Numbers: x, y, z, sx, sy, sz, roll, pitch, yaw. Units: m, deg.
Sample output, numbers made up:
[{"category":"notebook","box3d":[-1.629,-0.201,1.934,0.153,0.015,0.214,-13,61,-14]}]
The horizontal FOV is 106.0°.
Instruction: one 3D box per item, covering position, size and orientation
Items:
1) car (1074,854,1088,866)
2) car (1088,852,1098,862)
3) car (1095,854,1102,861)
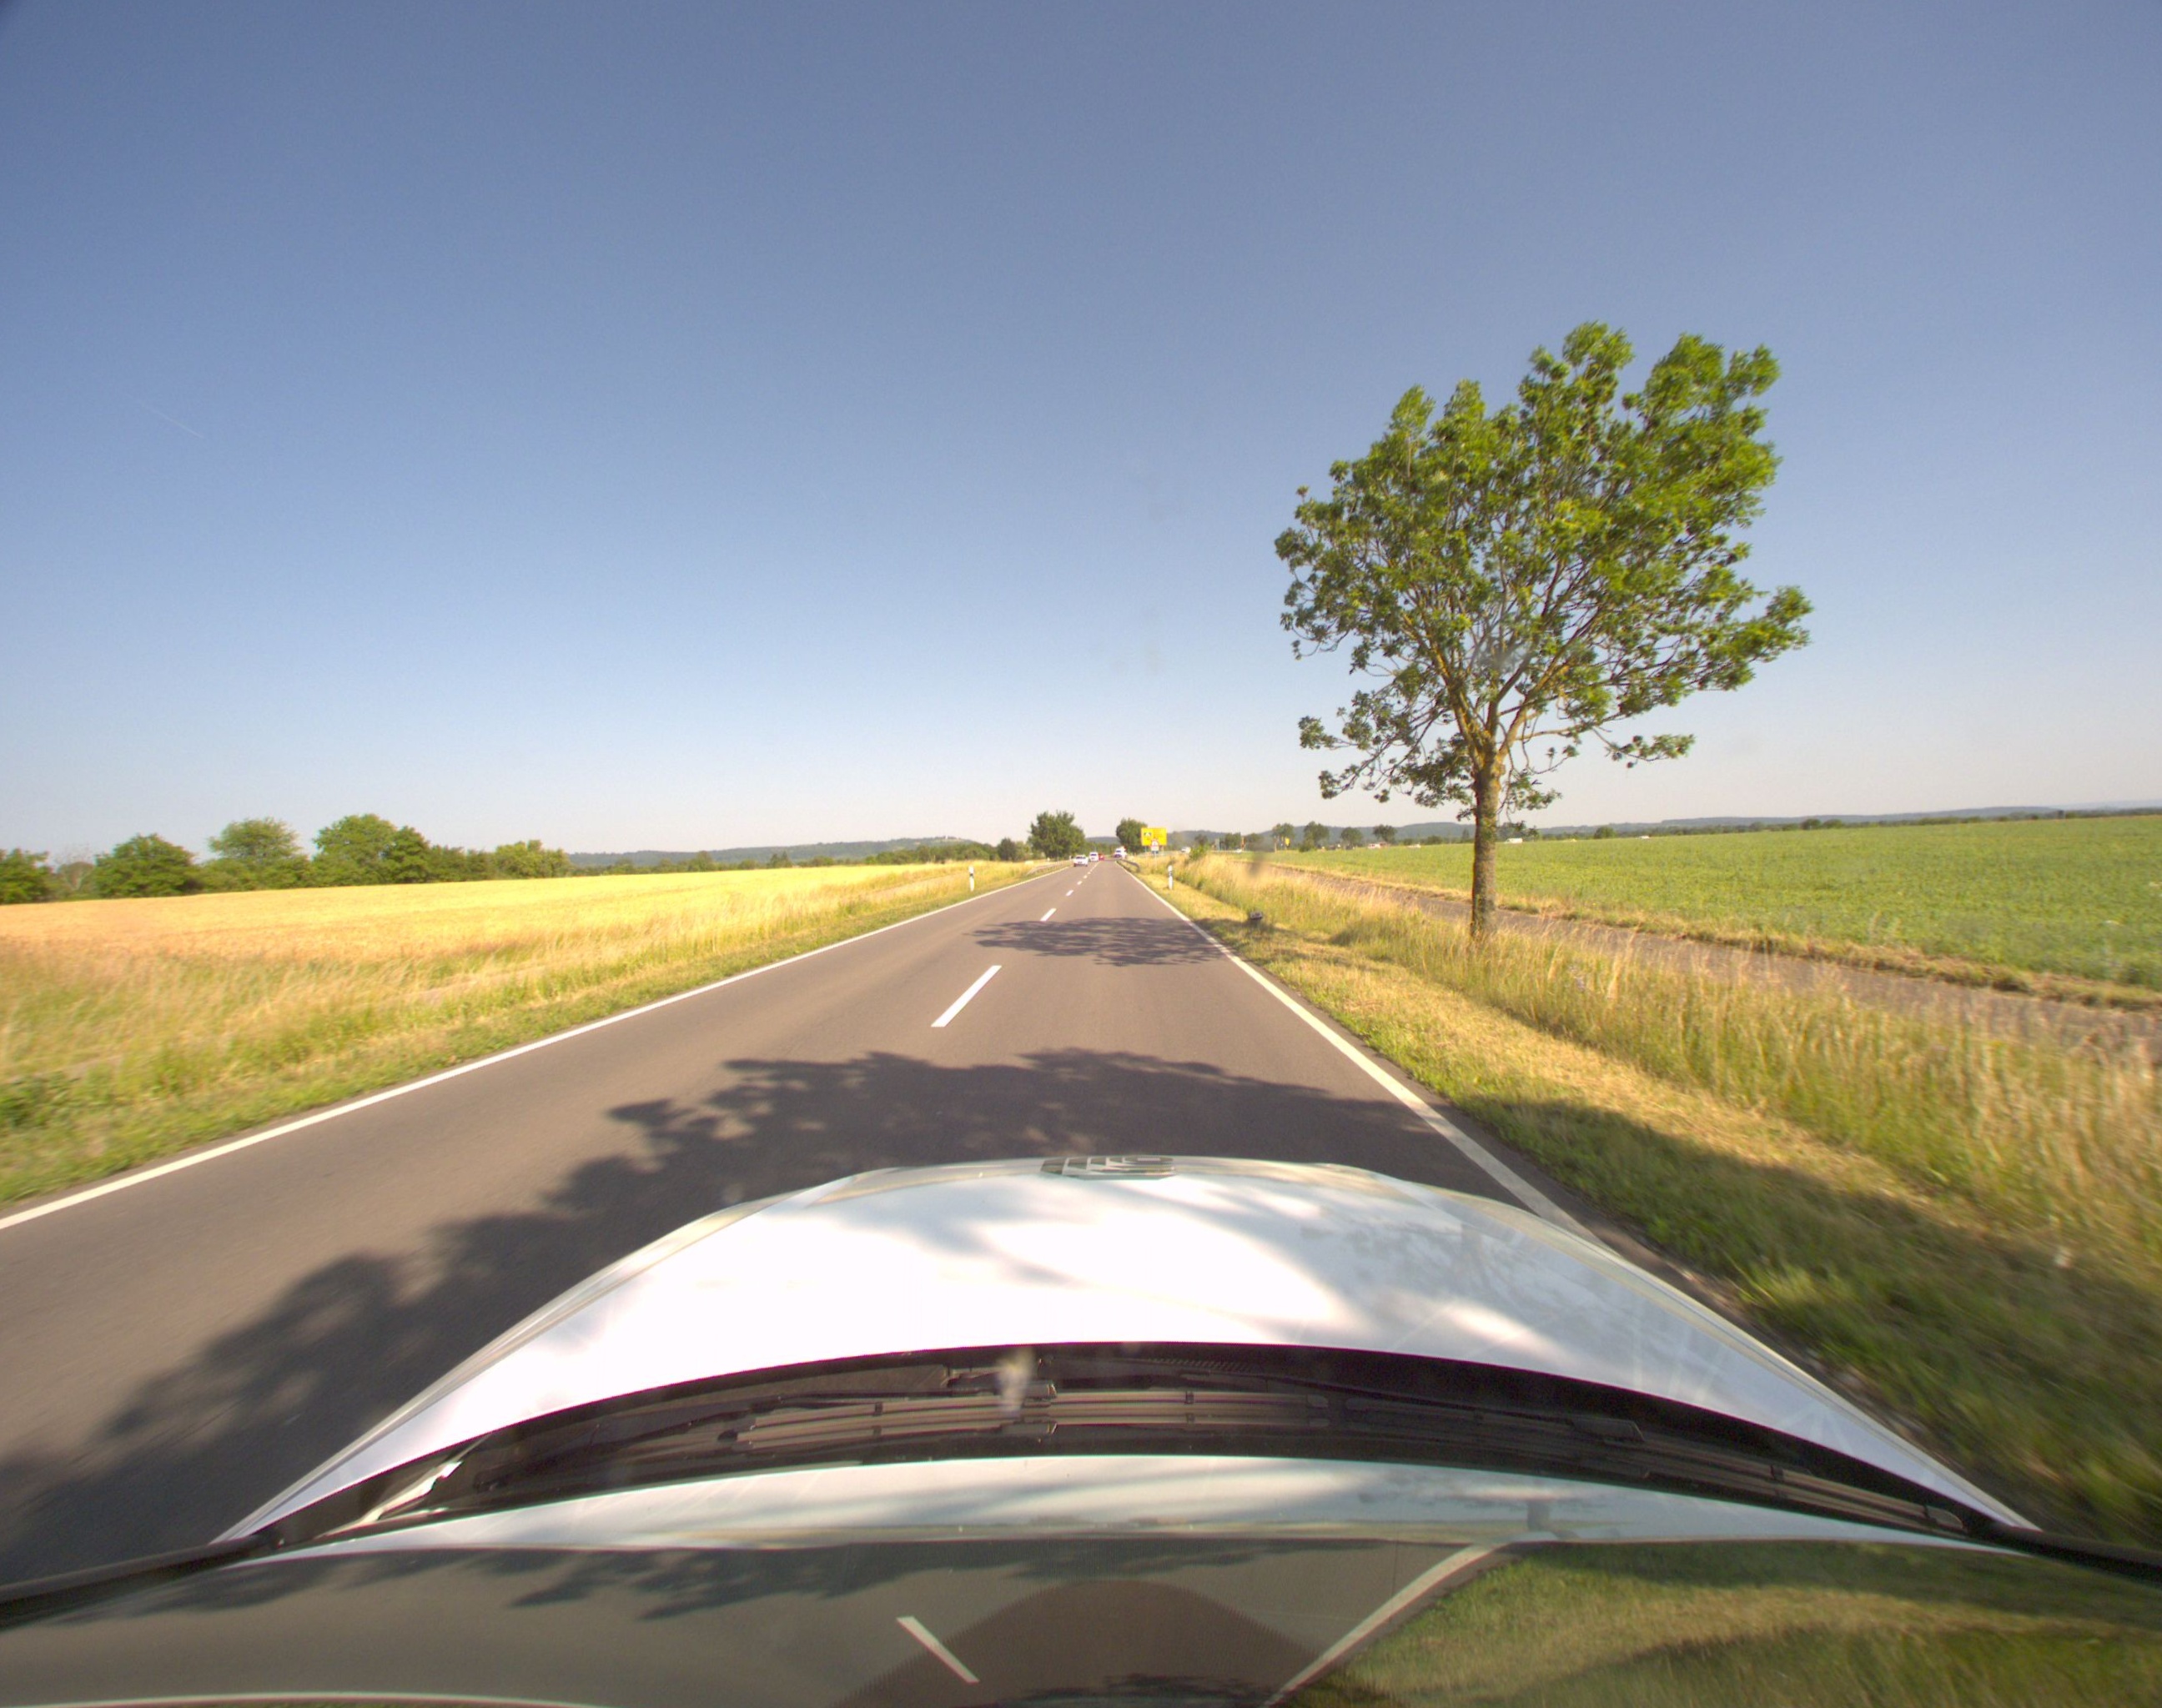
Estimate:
[{"category":"car","box3d":[0.049,0.804,107.722,1.720,1.437,4.517,-1,0,1]},{"category":"car","box3d":[2.473,0.601,165.682,1.829,1.787,4.437,-2,0,2]},{"category":"car","box3d":[4.108,0.749,187.995,1.600,1.488,3.781,-1,0,2]}]
